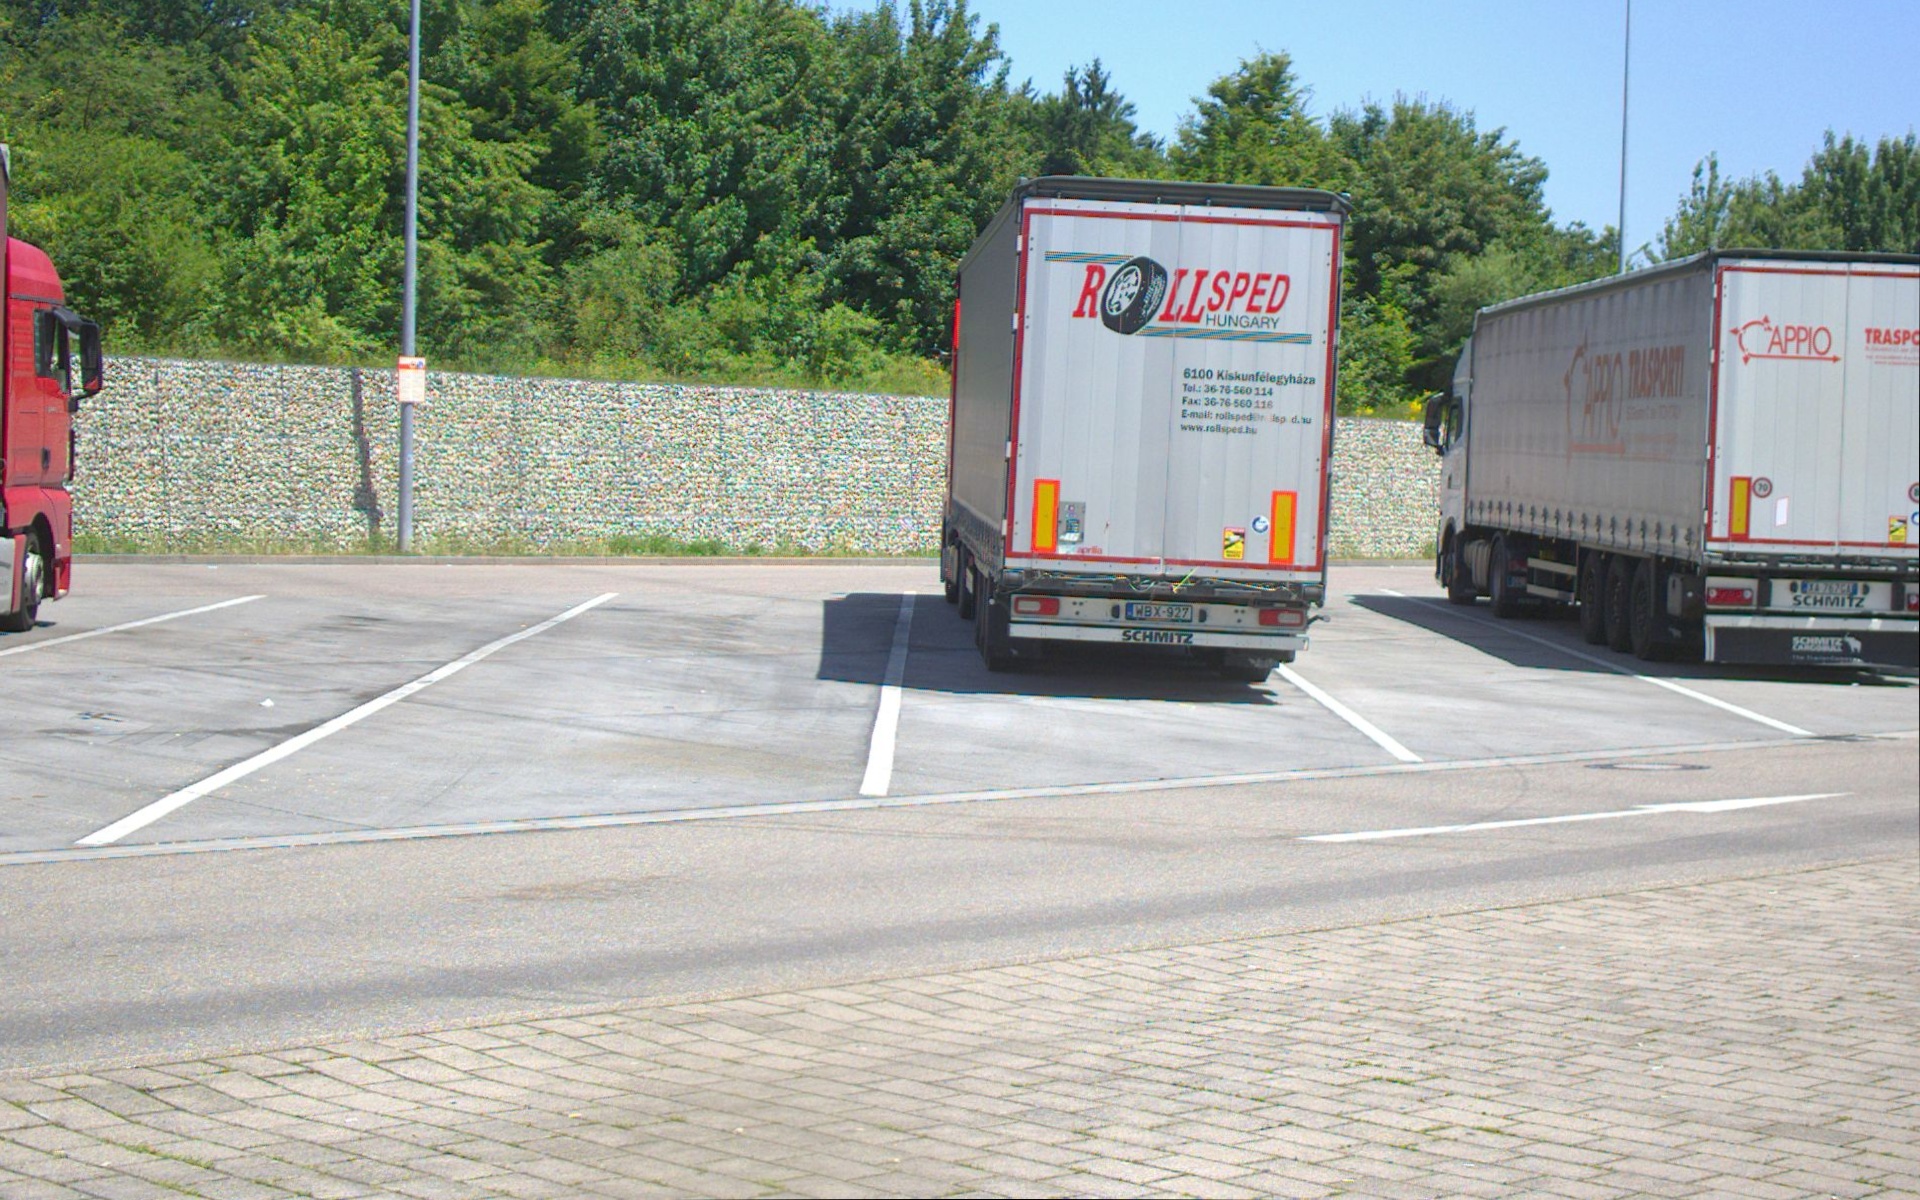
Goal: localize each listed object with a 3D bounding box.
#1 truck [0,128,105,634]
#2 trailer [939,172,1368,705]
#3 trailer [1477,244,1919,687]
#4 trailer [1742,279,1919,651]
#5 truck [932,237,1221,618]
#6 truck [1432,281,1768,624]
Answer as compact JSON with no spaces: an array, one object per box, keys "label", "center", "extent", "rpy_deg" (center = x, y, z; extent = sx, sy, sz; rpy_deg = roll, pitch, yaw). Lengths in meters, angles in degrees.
[{"label":"truck","center":[-9.145,-1.814,27.986],"extent":[2.696,4.099,6.240],"rpy_deg":[2,3,0]},{"label":"trailer","center":[1.442,-1.638,33.625],"extent":[2.866,4.023,14.243],"rpy_deg":[2,3,-2]},{"label":"trailer","center":[8.187,-1.570,37.962],"extent":[2.866,4.023,12.439],"rpy_deg":[2,3,0]},{"label":"trailer","center":[11.842,-1.530,39.027],"extent":[2.866,4.023,12.439],"rpy_deg":[2,3,0]},{"label":"truck","center":[1.230,-2.057,40.704],"extent":[2.866,4.023,7.028],"rpy_deg":[2,3,-2]},{"label":"truck","center":[8.127,-1.953,44.589],"extent":[2.866,4.023,6.957],"rpy_deg":[2,3,0]}]
